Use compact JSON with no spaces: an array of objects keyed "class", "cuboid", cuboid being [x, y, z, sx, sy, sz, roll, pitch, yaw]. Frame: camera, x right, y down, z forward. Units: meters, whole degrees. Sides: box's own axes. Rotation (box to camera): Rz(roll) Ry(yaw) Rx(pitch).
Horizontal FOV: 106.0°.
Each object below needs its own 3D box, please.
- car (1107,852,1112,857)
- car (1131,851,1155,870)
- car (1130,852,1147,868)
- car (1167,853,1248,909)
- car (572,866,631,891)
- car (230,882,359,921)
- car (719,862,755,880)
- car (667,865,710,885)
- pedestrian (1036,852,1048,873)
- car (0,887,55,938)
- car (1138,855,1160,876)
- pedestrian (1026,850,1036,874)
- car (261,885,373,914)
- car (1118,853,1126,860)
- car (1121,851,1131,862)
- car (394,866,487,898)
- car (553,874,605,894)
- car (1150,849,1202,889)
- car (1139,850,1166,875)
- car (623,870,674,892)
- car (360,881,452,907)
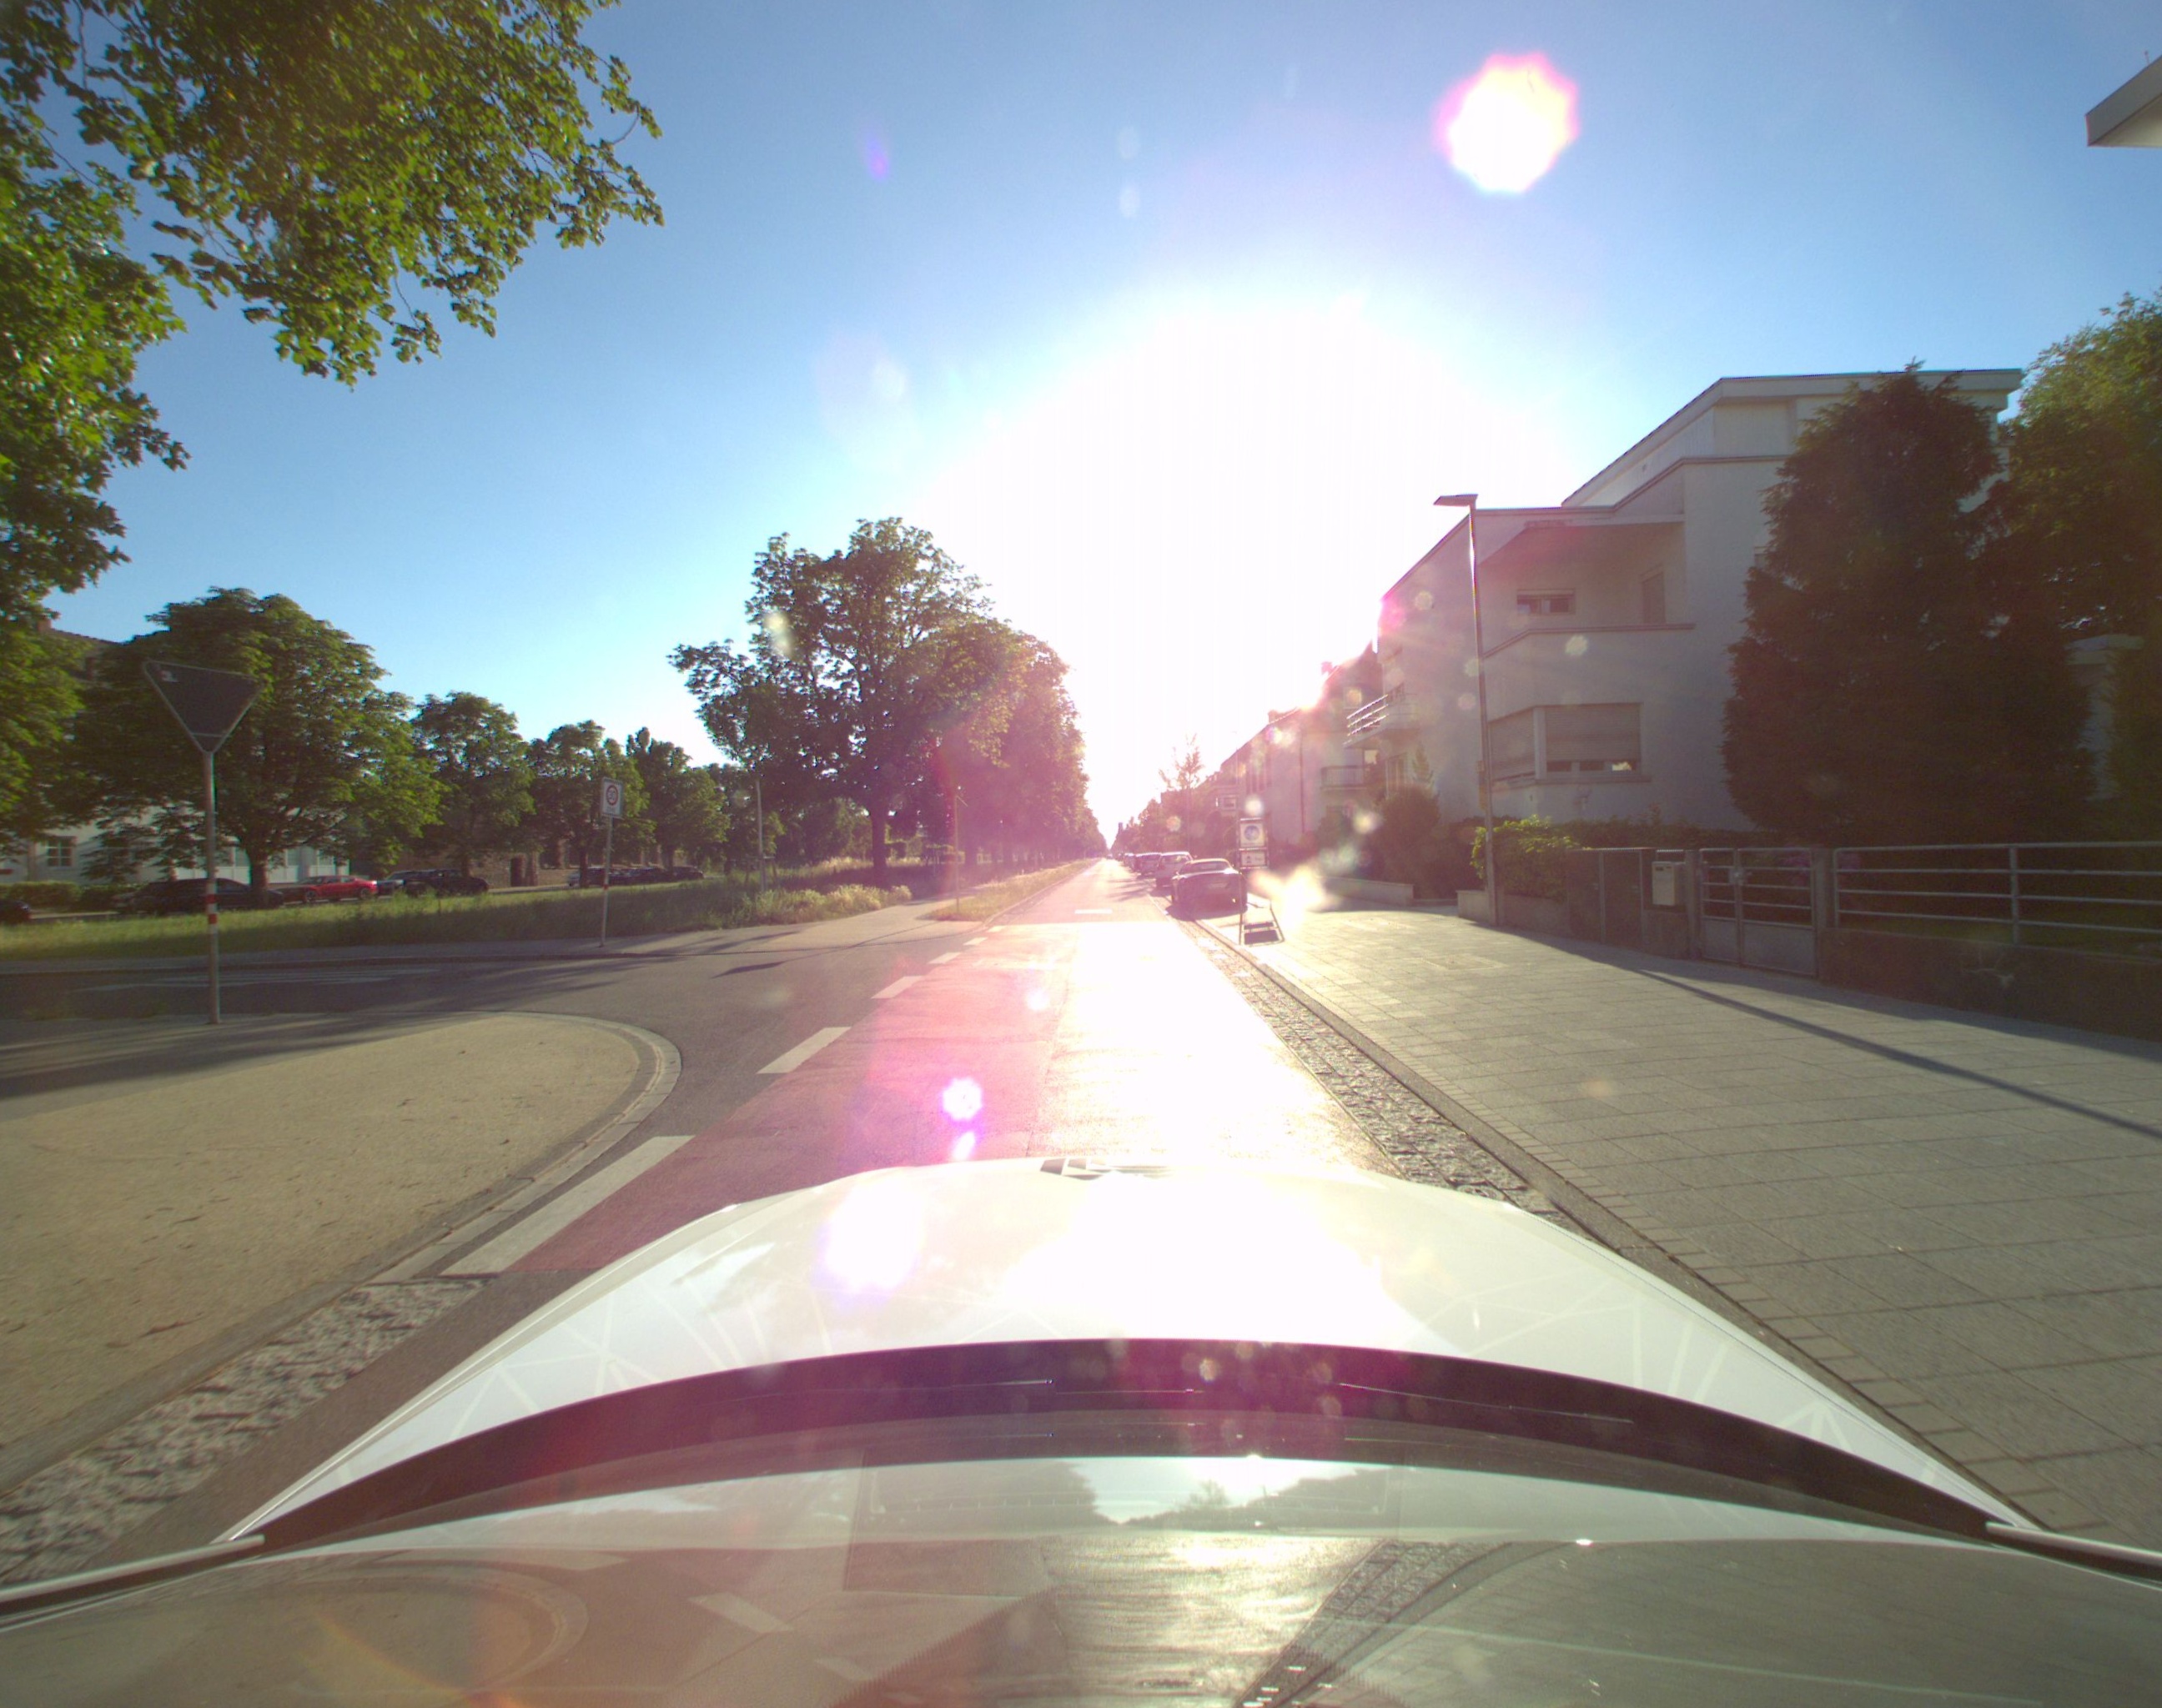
[{"class":"car","cuboid":[8.578,0.226,243.760,1.645,1.541,3.268,-1,0,2]},{"class":"car","cuboid":[5.414,0.574,71.411,1.731,1.449,4.197,-3,-1,1]},{"class":"car","cuboid":[5.722,0.629,81.096,1.586,1.510,3.594,-2,0,3]},{"class":"car","cuboid":[3.570,0.720,23.649,1.767,1.288,4.275,-5,1,2]},{"class":"car","cuboid":[-35.129,1.761,59.781,1.686,1.597,4.222,-2,0,1]},{"class":"car","cuboid":[-35.458,2.104,36.874,1.687,1.476,4.221,-2,0,0]},{"class":"car","cuboid":[-34.440,1.663,81.573,1.686,1.597,4.222,-2,0,1]},{"class":"car","cuboid":[-34.534,1.784,71.782,1.686,1.597,4.222,-2,0,1]},{"class":"pedestrian","cuboid":[-3.062,0.683,64.365,0.779,1.614,0.953,-2,0,5]},{"class":"car","cuboid":[-36.321,1.970,26.037,1.687,1.597,4.219,-2,0,-1]},{"class":"car","cuboid":[5.431,0.877,64.634,1.649,1.494,3.722,-3,-1,6]},{"class":"pedestrian","cuboid":[-3.924,0.631,64.224,0.621,1.831,0.887,-2,0,5]},{"class":"car","cuboid":[-40.496,2.380,43.336,1.564,1.332,4.482,-1,0,3]},{"class":"car","cuboid":[9.323,0.483,184.829,1.645,1.541,3.269,-1,0,3]},{"class":"car","cuboid":[6.755,0.353,122.814,1.492,1.567,3.269,-2,0,3]},{"class":"car","cuboid":[-35.499,1.497,45.295,1.686,1.597,4.222,-2,0,1]},{"class":"car","cuboid":[-40.427,2.382,65.701,1.623,1.405,4.002,-1,0,2]},{"class":"car","cuboid":[4.050,0.616,35.103,1.738,1.474,3.923,-5,0,1]},{"class":"car","cuboid":[4.804,0.548,54.986,1.621,1.504,3.636,-4,0,3]},{"class":"car","cuboid":[-34.760,2.137,65.584,1.686,1.597,4.222,-2,0,1]},{"class":"car","cuboid":[-40.347,2.364,48.831,1.564,1.332,4.482,-1,0,3]}]
